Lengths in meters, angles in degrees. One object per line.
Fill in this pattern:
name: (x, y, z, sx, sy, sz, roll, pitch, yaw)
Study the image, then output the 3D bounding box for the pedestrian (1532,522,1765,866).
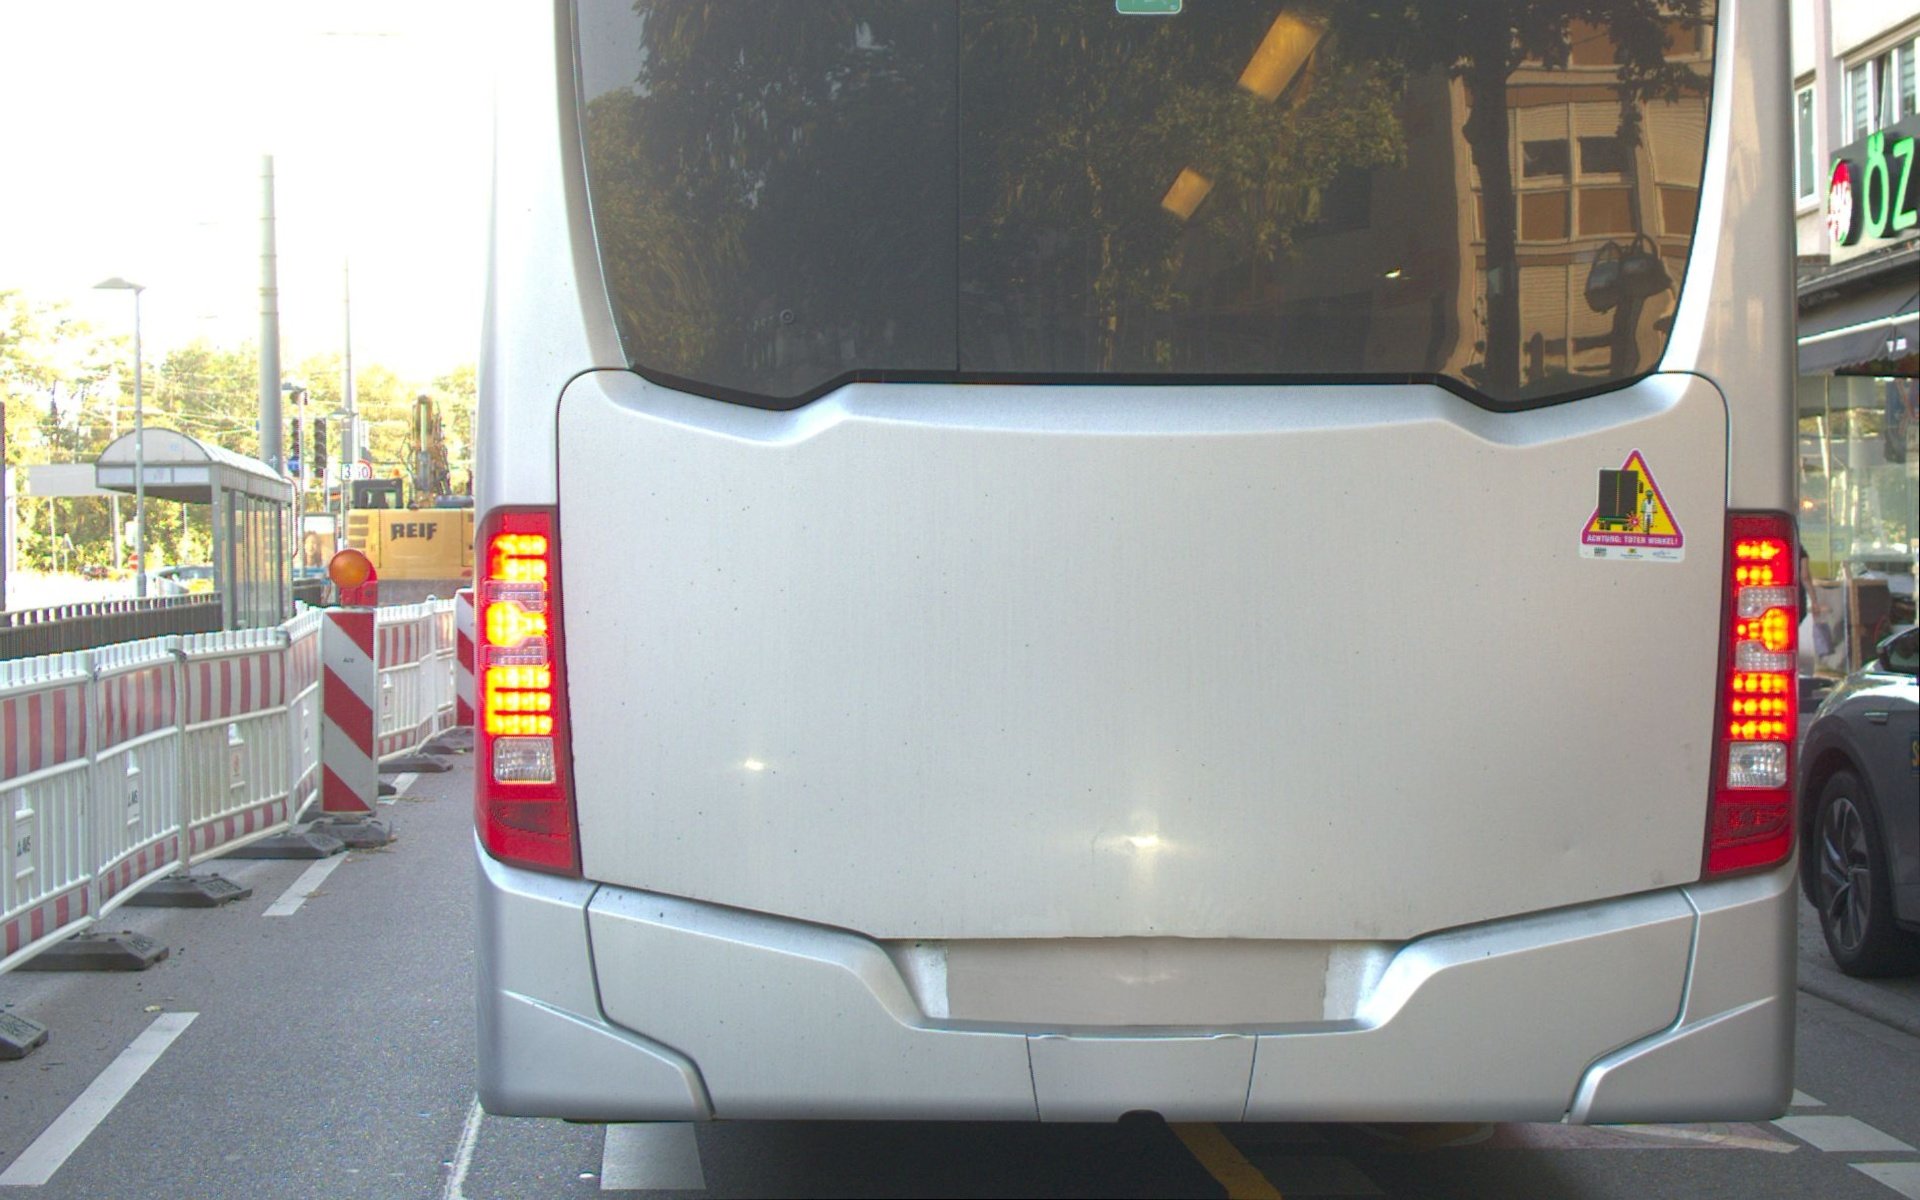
pedestrian: (3.266, 0.423, 16.281, 0.750, 1.575, 0.875, 0, 1, 38)

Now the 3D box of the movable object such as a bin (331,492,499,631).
movable object such as a bin: (-10.046, -0.717, 63.672, 2.806, 2.453, 4.001, -1, 1, -5)

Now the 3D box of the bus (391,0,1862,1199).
bus: (0.270, -0.284, 11.249, 2.608, 3.159, 10.292, 0, 1, 0)

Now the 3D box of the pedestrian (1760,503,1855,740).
pedestrian: (7.293, 0.179, 29.600, 0.612, 2.007, 0.696, -1, 0, -1)

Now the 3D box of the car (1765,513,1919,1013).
car: (3.985, 0.495, 10.265, 1.739, 1.592, 4.300, -3, 1, -5)

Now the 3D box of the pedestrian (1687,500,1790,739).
pedestrian: (6.634, 0.161, 29.337, 0.691, 2.007, 0.696, -1, 0, -1)
